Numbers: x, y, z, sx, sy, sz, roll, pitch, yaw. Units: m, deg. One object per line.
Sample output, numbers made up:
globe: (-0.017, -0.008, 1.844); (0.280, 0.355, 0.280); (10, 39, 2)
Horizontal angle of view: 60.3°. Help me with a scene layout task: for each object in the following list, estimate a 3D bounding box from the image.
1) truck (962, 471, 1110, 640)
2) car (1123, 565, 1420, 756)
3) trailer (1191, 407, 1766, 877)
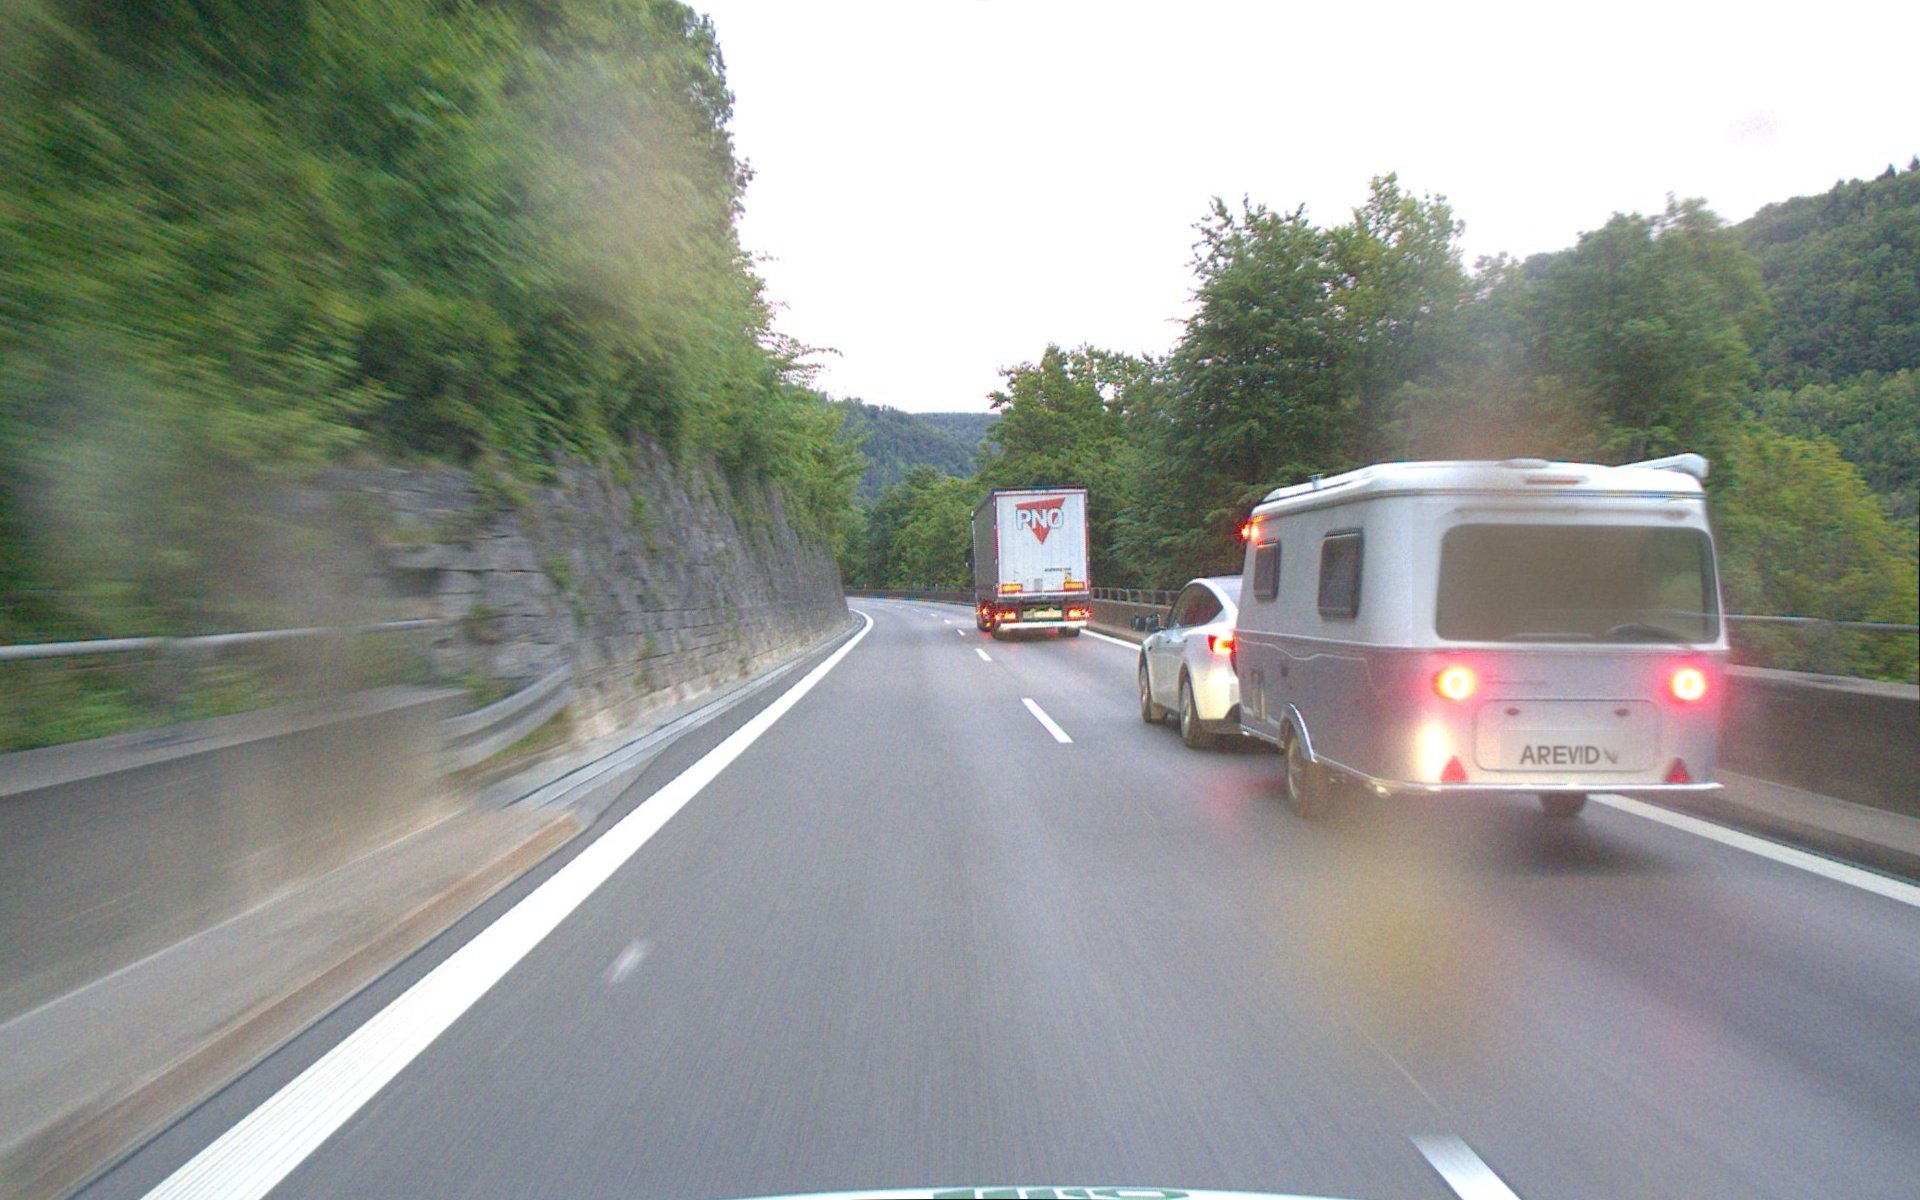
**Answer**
truck: (1.967, -1.181, 50.914); (3.228, 4.245, 16.498); (-2, 0, -1)
car: (2.988, 0.524, 17.007); (1.953, 1.643, 4.862); (-1, 0, -2)
trailer: (3.143, 0.191, 11.646); (2.013, 2.416, 5.936); (-1, 0, -2)
